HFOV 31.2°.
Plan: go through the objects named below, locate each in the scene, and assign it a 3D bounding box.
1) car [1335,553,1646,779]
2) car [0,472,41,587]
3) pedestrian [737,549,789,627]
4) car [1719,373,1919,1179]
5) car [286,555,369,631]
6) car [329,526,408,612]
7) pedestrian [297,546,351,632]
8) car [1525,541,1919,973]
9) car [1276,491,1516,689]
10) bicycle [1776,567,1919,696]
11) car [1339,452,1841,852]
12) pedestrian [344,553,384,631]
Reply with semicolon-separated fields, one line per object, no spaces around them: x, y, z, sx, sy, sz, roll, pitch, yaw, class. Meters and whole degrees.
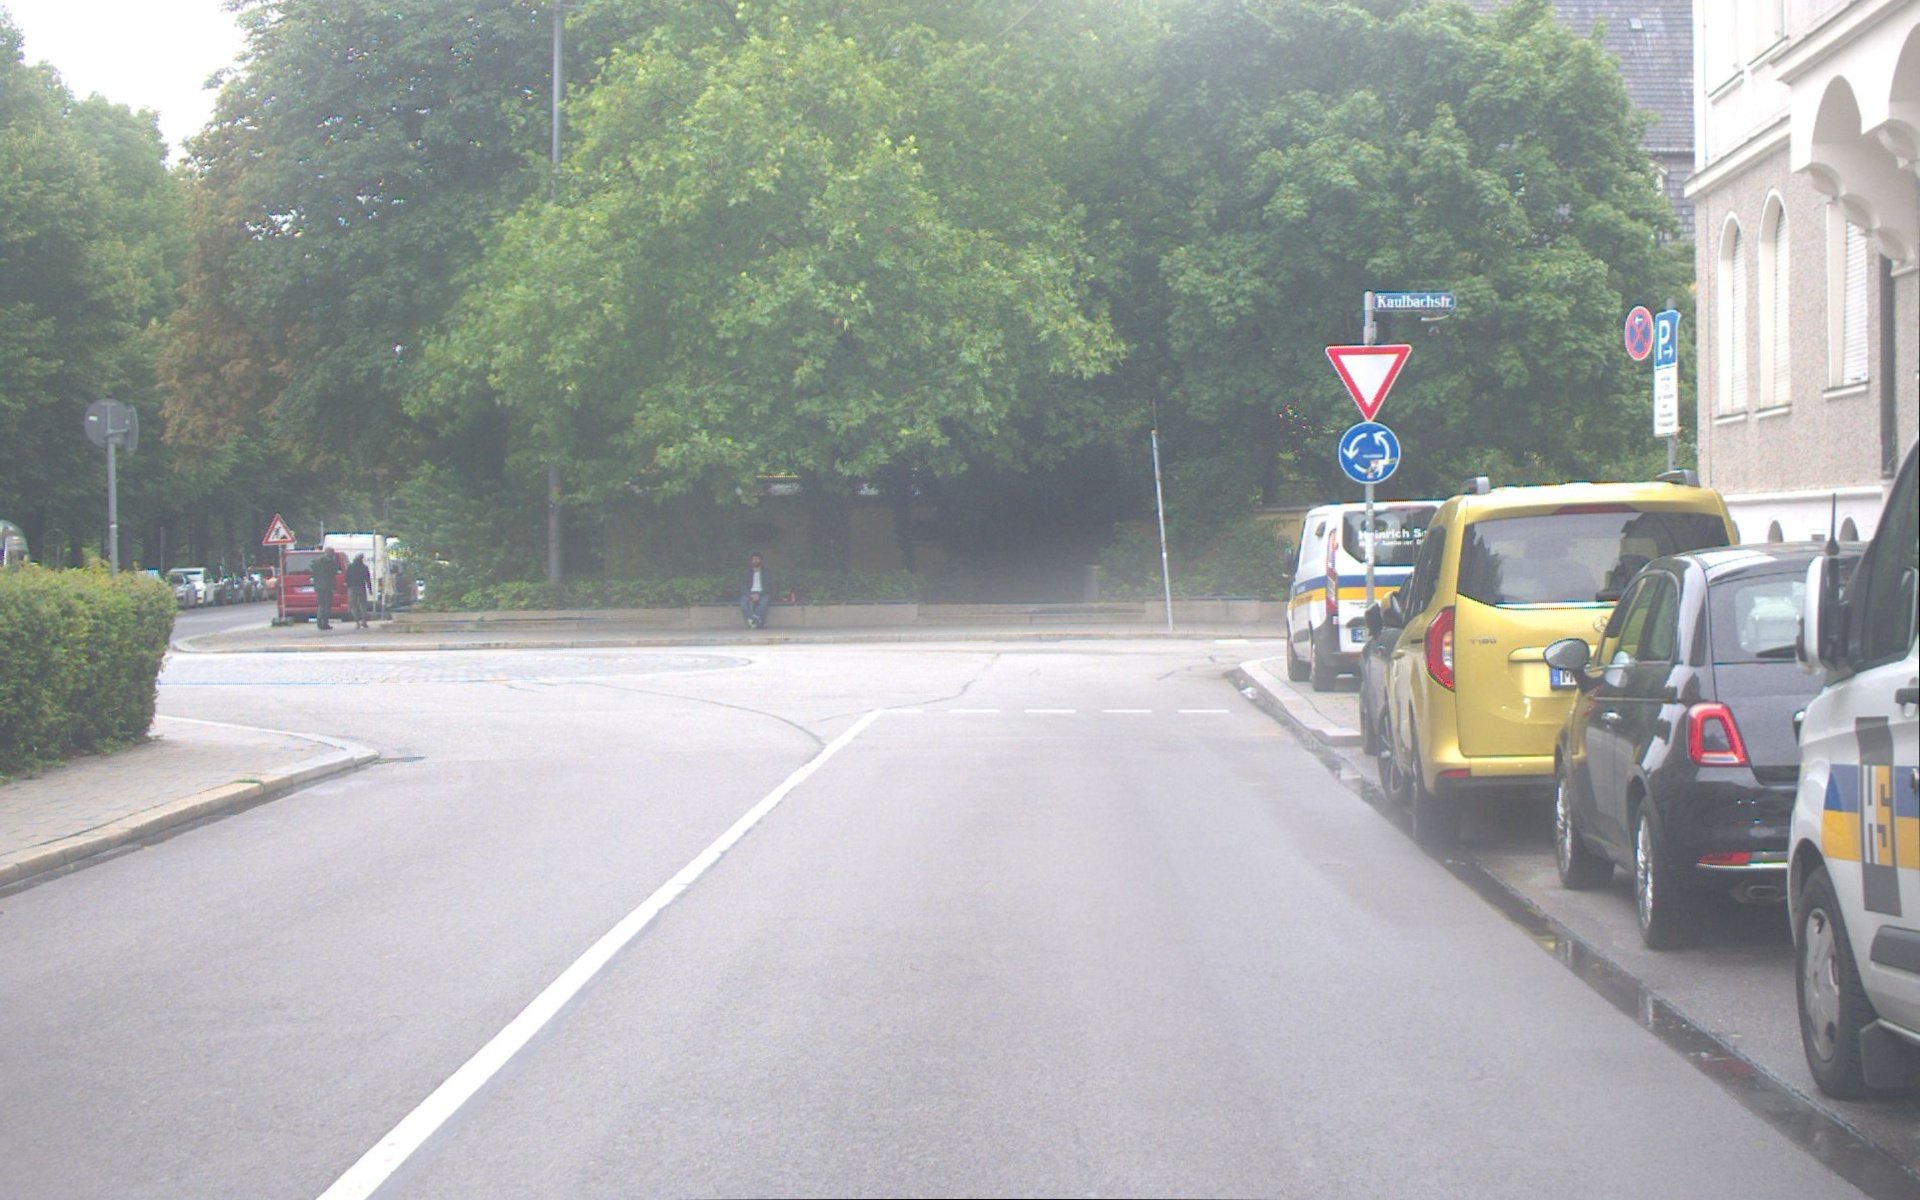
3.658;0.403;24.259;1.712;1.440;3.827;-1;1;2;car
-26.237;-1.846;92.137;2.172;2.992;6.235;-1;1;-7;car
-3.459;-0.220;60.342;0.769;1.352;1.131;-1;1;3;pedestrian
3.265;0.411;7.787;1.993;1.912;4.886;-1;1;0;car
-16.621;-0.211;90.501;1.911;1.930;4.970;-1;1;-8;car
-18.243;-0.967;106.161;1.993;2.549;5.431;-1;1;-6;car
-13.806;-0.242;74.655;0.820;1.830;0.952;-1;1;-33;pedestrian
3.363;0.521;14.006;1.633;1.509;3.885;0;1;2;car
4.609;-0.146;37.104;1.938;1.915;5.374;-2;1;1;car
8.572;0.277;32.998;0.839;1.109;2.757;-4;1;2;bicycle
3.304;0.220;18.938;1.993;1.912;4.571;-1;1;1;car
-12.904;-0.182;74.410;0.633;1.661;0.697;-1;1;-28;pedestrian
